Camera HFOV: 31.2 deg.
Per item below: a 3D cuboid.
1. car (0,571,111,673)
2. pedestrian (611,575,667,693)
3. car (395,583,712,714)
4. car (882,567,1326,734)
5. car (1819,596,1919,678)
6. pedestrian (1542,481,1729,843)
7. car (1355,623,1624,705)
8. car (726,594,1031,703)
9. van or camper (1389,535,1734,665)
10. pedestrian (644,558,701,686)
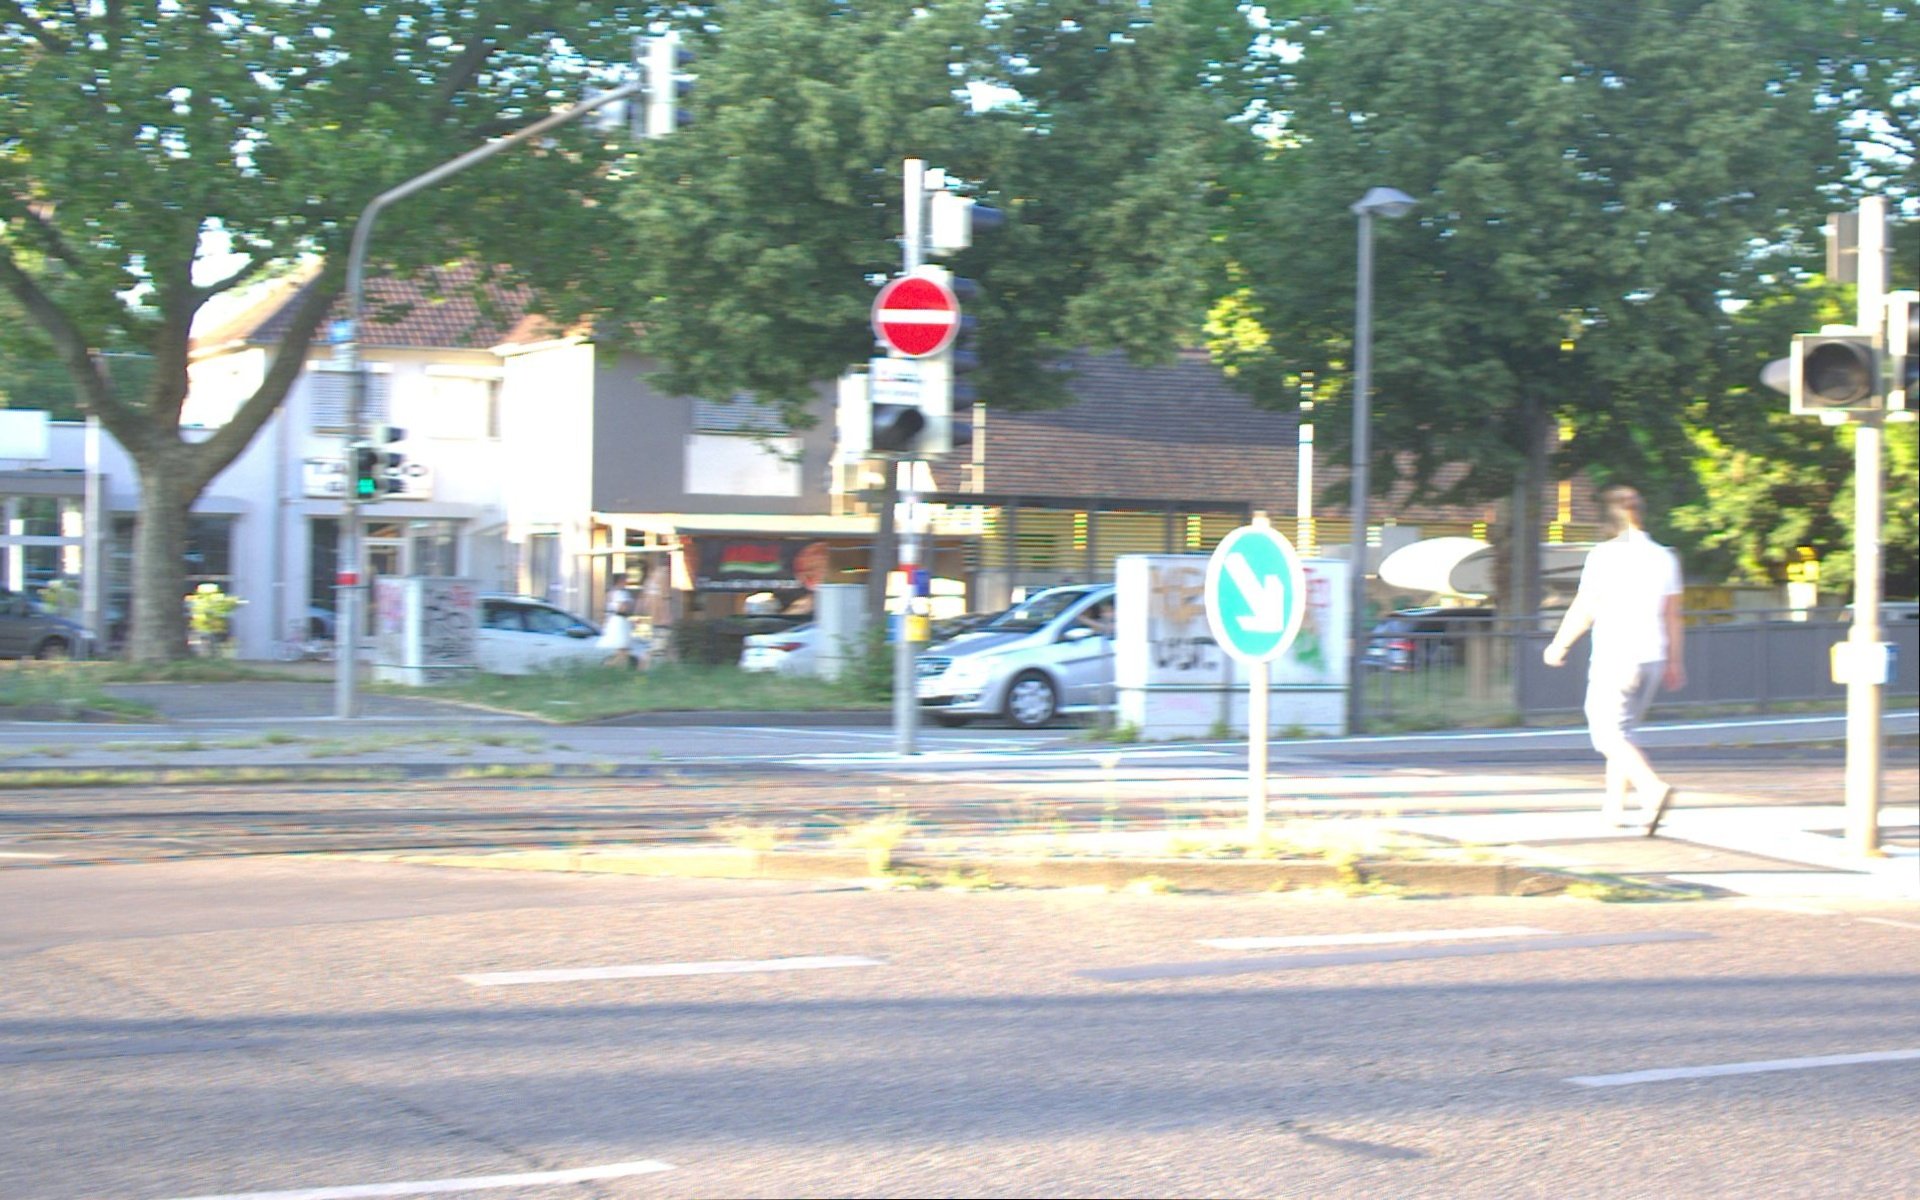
[{"bbox_3d":[-18.058,0.378,63.458,4.376,1.828,1.949,1,0,-22],"label":"car"},{"bbox_3d":[-4.539,0.473,48.637,0.718,1.633,0.897,1,0,-3],"label":"pedestrian"},{"bbox_3d":[-6.033,0.715,51.061,4.229,1.840,2.000,1,0,-25],"label":"car"},{"bbox_3d":[1.596,0.559,37.488,4.533,1.722,1.862,1,0,-31],"label":"car"},{"bbox_3d":[18.331,0.712,63.948,4.229,1.460,2.000,1,0,-25],"label":"car"},{"bbox_3d":[3.459,0.312,17.662,0.761,1.785,0.802,2,-1,3],"label":"pedestrian"},{"bbox_3d":[9.182,1.110,59.618,4.229,1.296,1.927,1,0,-25],"label":"car"},{"bbox_3d":[-1.258,0.745,53.083,4.229,1.572,2.000,1,0,-25],"label":"car"},{"bbox_3d":[12.002,0.032,68.515,6.562,2.402,2.265,1,-1,-23],"label":"van or camper"},{"bbox_3d":[-3.984,0.300,47.721,0.718,1.748,0.897,1,0,-3],"label":"pedestrian"}]
